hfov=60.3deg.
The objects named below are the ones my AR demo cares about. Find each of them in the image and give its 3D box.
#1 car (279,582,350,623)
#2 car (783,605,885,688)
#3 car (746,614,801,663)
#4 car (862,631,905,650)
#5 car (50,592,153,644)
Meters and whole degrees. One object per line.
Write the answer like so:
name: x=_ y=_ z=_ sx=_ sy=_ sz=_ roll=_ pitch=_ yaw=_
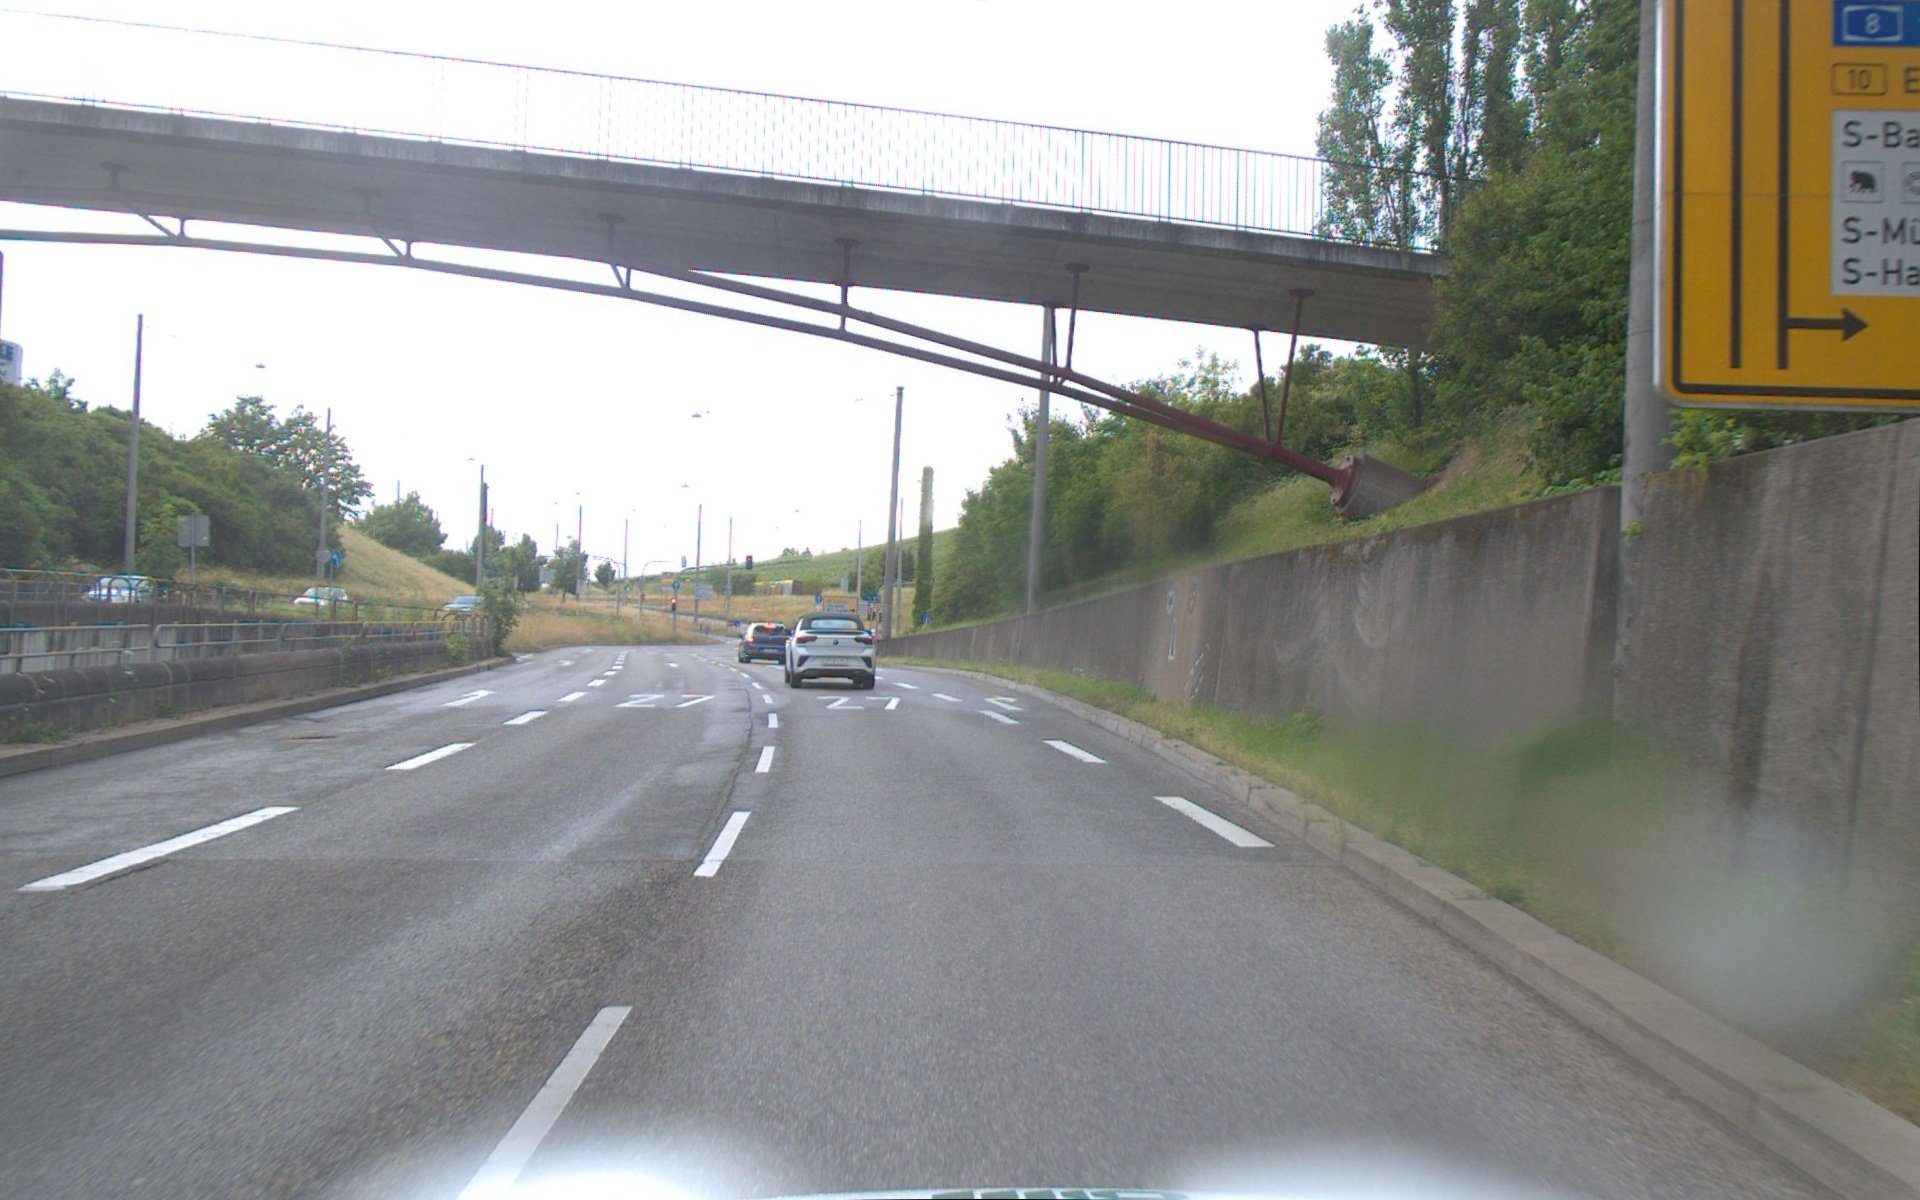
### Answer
car: x=-32.209 y=0.159 z=82.711 sx=1.954 sy=1.867 sz=4.625 roll=2 pitch=-1 yaw=-4
car: x=-2.766 y=0.943 z=35.546 sx=1.958 sy=1.606 sz=4.119 roll=0 pitch=0 yaw=-7
car: x=-6.870 y=1.444 z=60.770 sx=1.890 sy=1.627 sz=4.054 roll=3 pitch=-3 yaw=-7
car: x=-7.403 y=3.920 z=159.849 sx=1.977 sy=1.742 sz=4.506 roll=2 pitch=-1 yaw=-35
car: x=-30.609 y=0.646 z=59.102 sx=1.958 sy=1.751 sz=4.692 roll=0 pitch=-1 yaw=-11
